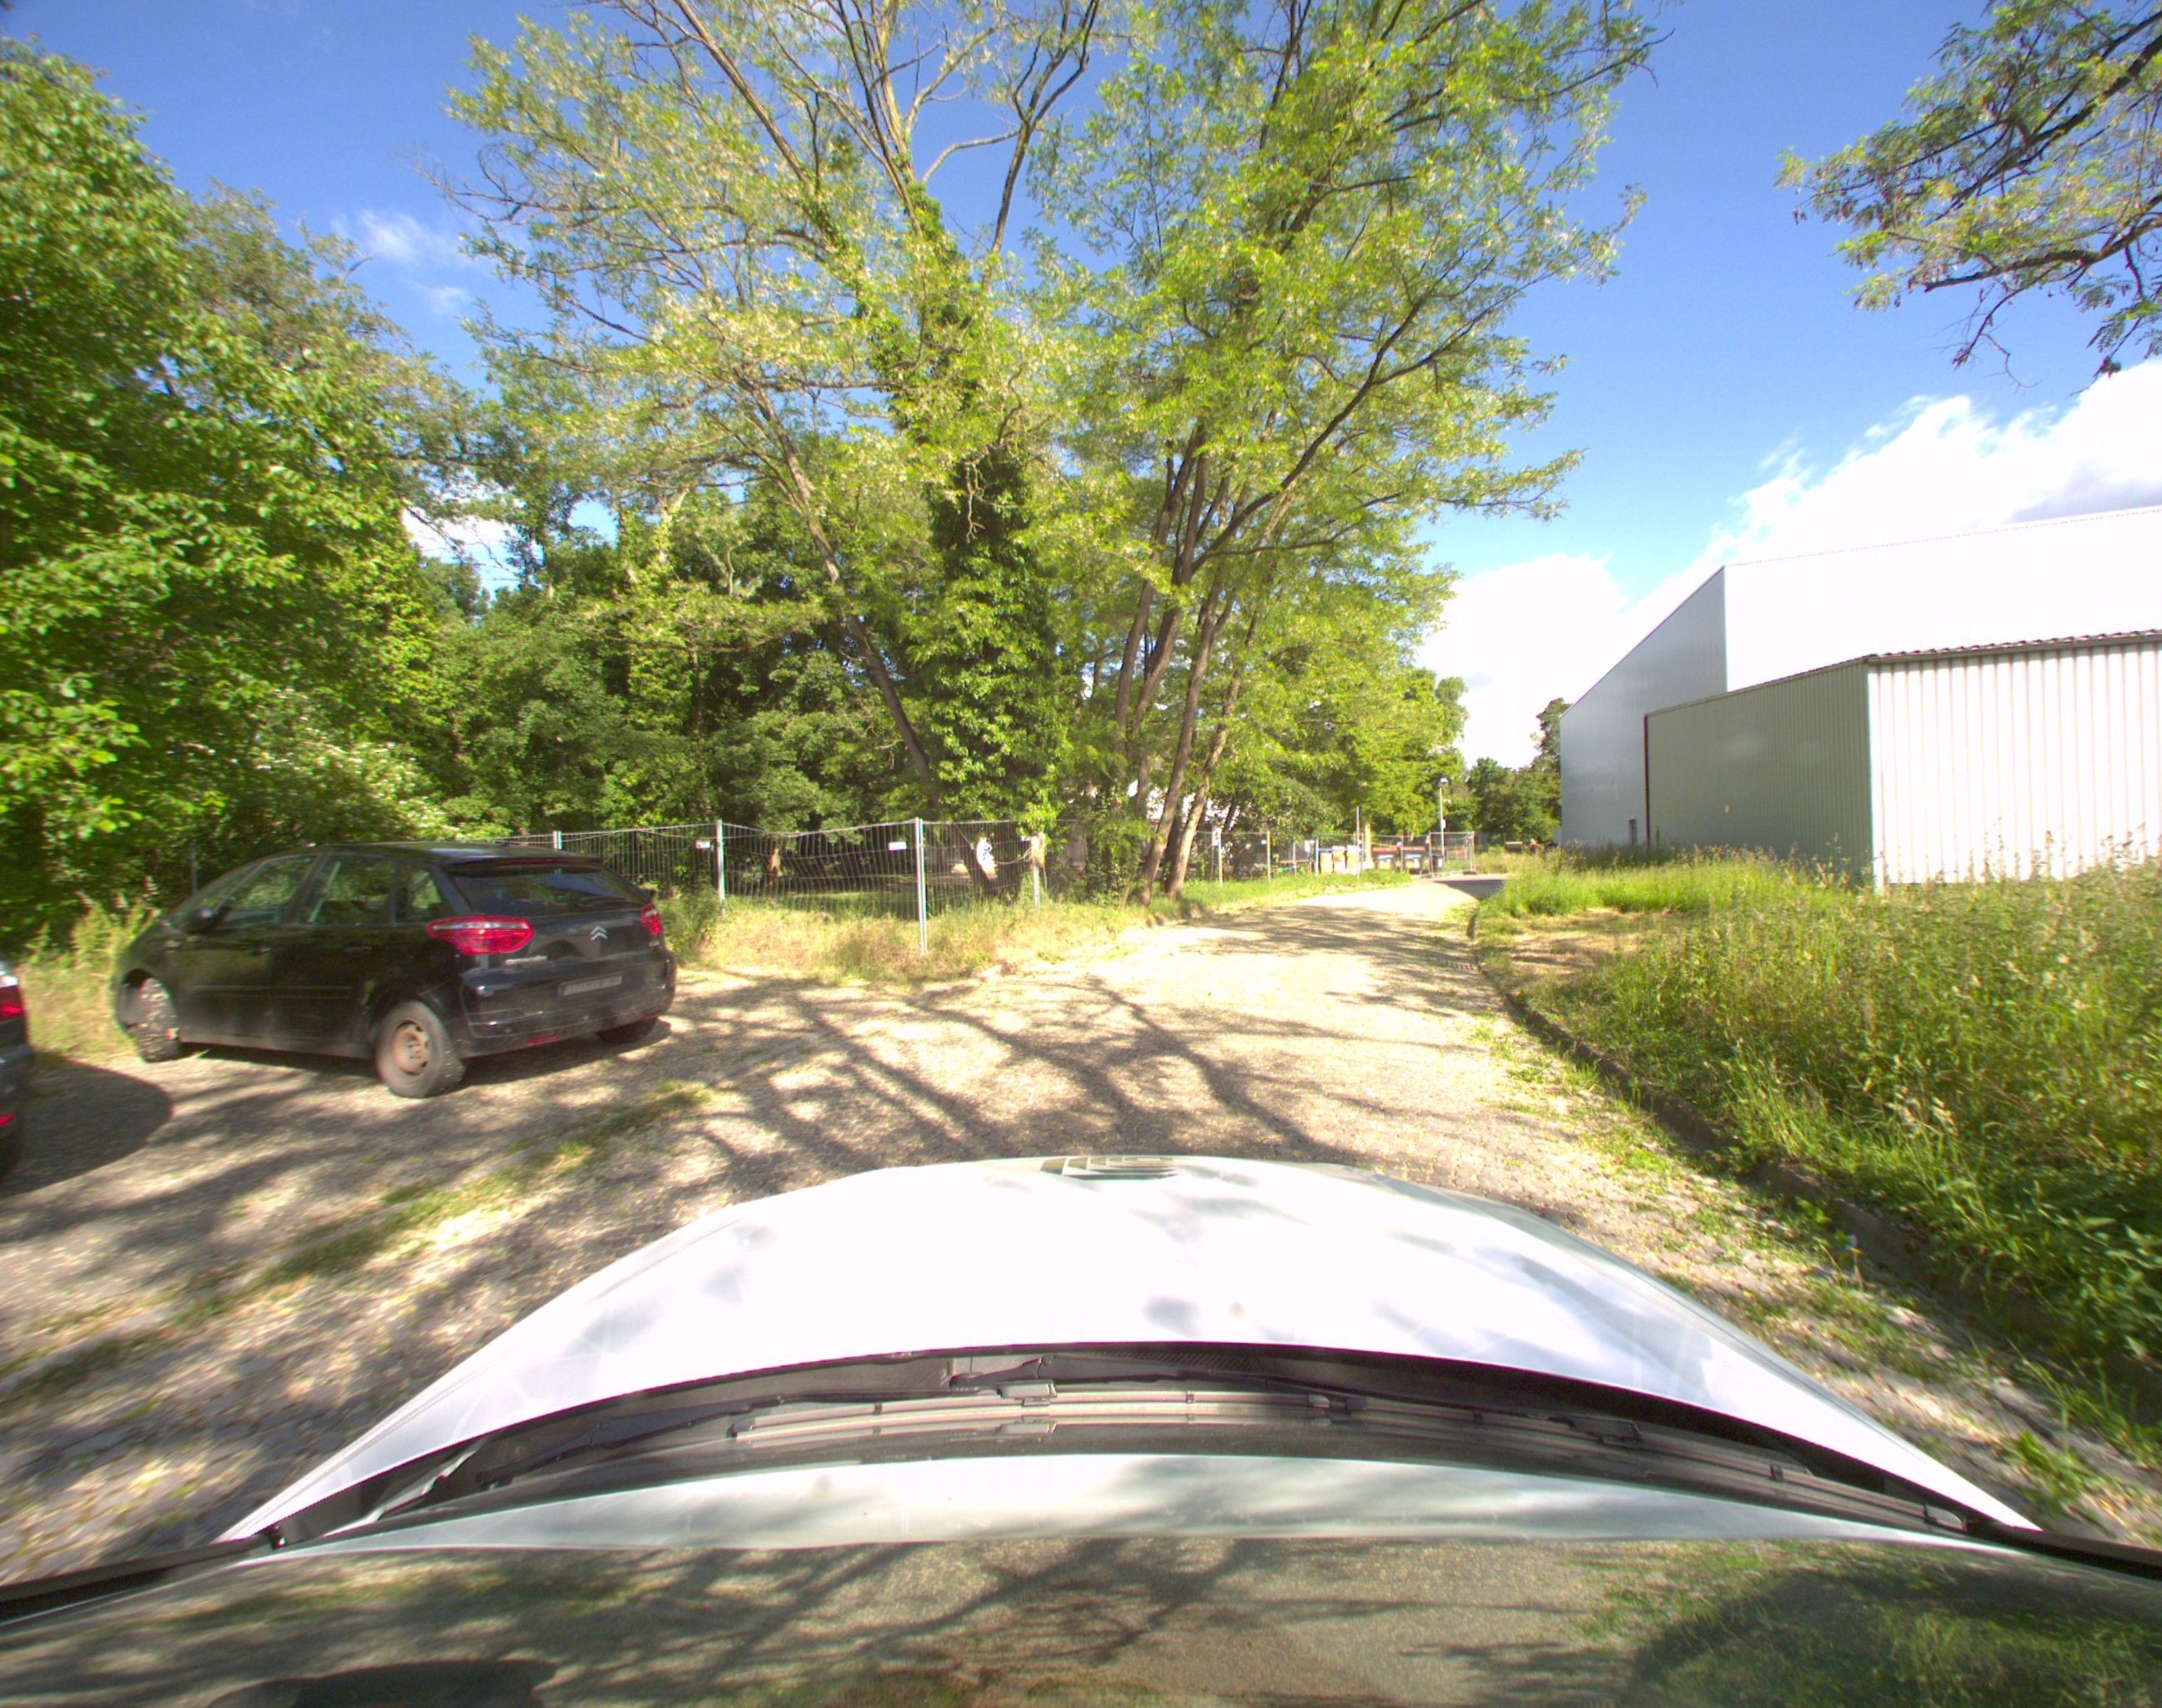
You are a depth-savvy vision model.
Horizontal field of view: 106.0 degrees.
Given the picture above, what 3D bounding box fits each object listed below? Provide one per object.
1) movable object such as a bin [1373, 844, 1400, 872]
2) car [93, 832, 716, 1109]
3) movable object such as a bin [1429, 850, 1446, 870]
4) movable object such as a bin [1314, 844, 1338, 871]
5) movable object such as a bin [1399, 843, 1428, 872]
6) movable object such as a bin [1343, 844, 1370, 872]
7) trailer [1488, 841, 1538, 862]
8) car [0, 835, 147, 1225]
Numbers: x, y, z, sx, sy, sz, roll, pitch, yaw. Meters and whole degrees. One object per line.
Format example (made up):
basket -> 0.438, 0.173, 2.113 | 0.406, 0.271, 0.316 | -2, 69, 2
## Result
movable object such as a bin -> 15.985, 0.217, 42.672 | 1.276, 1.426, 1.037 | -2, 0, 20
car -> -5.338, 0.681, 6.521 | 4.225, 1.589, 1.838 | 2, 2, 18
movable object such as a bin -> 18.216, 0.310, 41.600 | 0.635, 1.007, 0.609 | -2, -1, 38
movable object such as a bin -> 13.131, 0.177, 43.681 | 1.074, 1.438, 1.062 | -2, 0, 24
movable object such as a bin -> 17.219, 0.185, 42.242 | 1.277, 1.426, 1.037 | -2, 0, 19
movable object such as a bin -> 14.644, 0.231, 43.221 | 1.276, 1.426, 1.037 | -2, 0, 20
trailer -> 27.842, -0.158, 52.522 | 2.687, 1.200, 1.252 | -2, 0, 21
car -> -6.687, 0.699, 3.634 | 4.223, 1.631, 1.890 | 1, 0, 20
